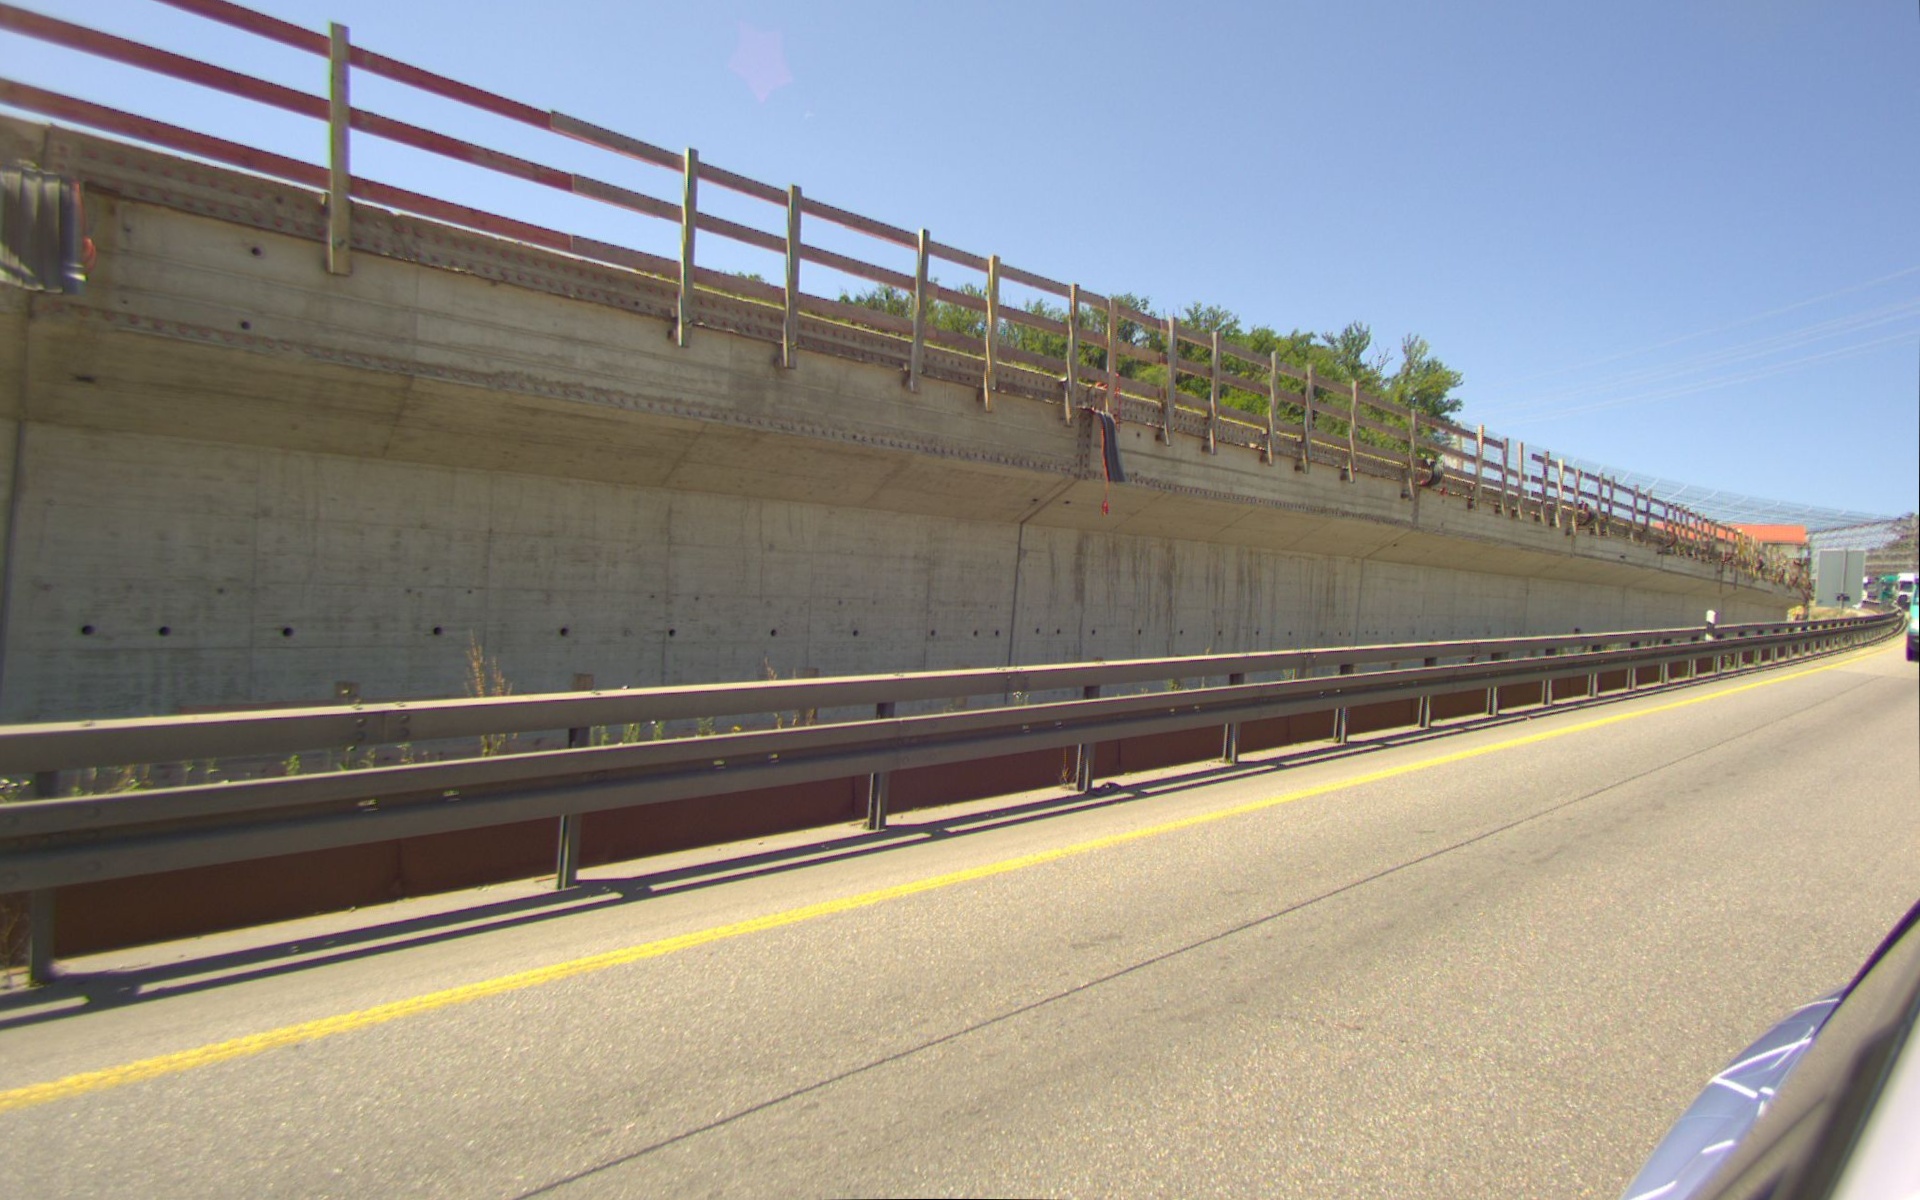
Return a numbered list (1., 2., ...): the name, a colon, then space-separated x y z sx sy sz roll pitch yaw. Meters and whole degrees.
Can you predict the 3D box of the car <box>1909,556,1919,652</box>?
1. car: 26.592 0.086 26.526 6.789 2.355 2.213 -1 1 -45
